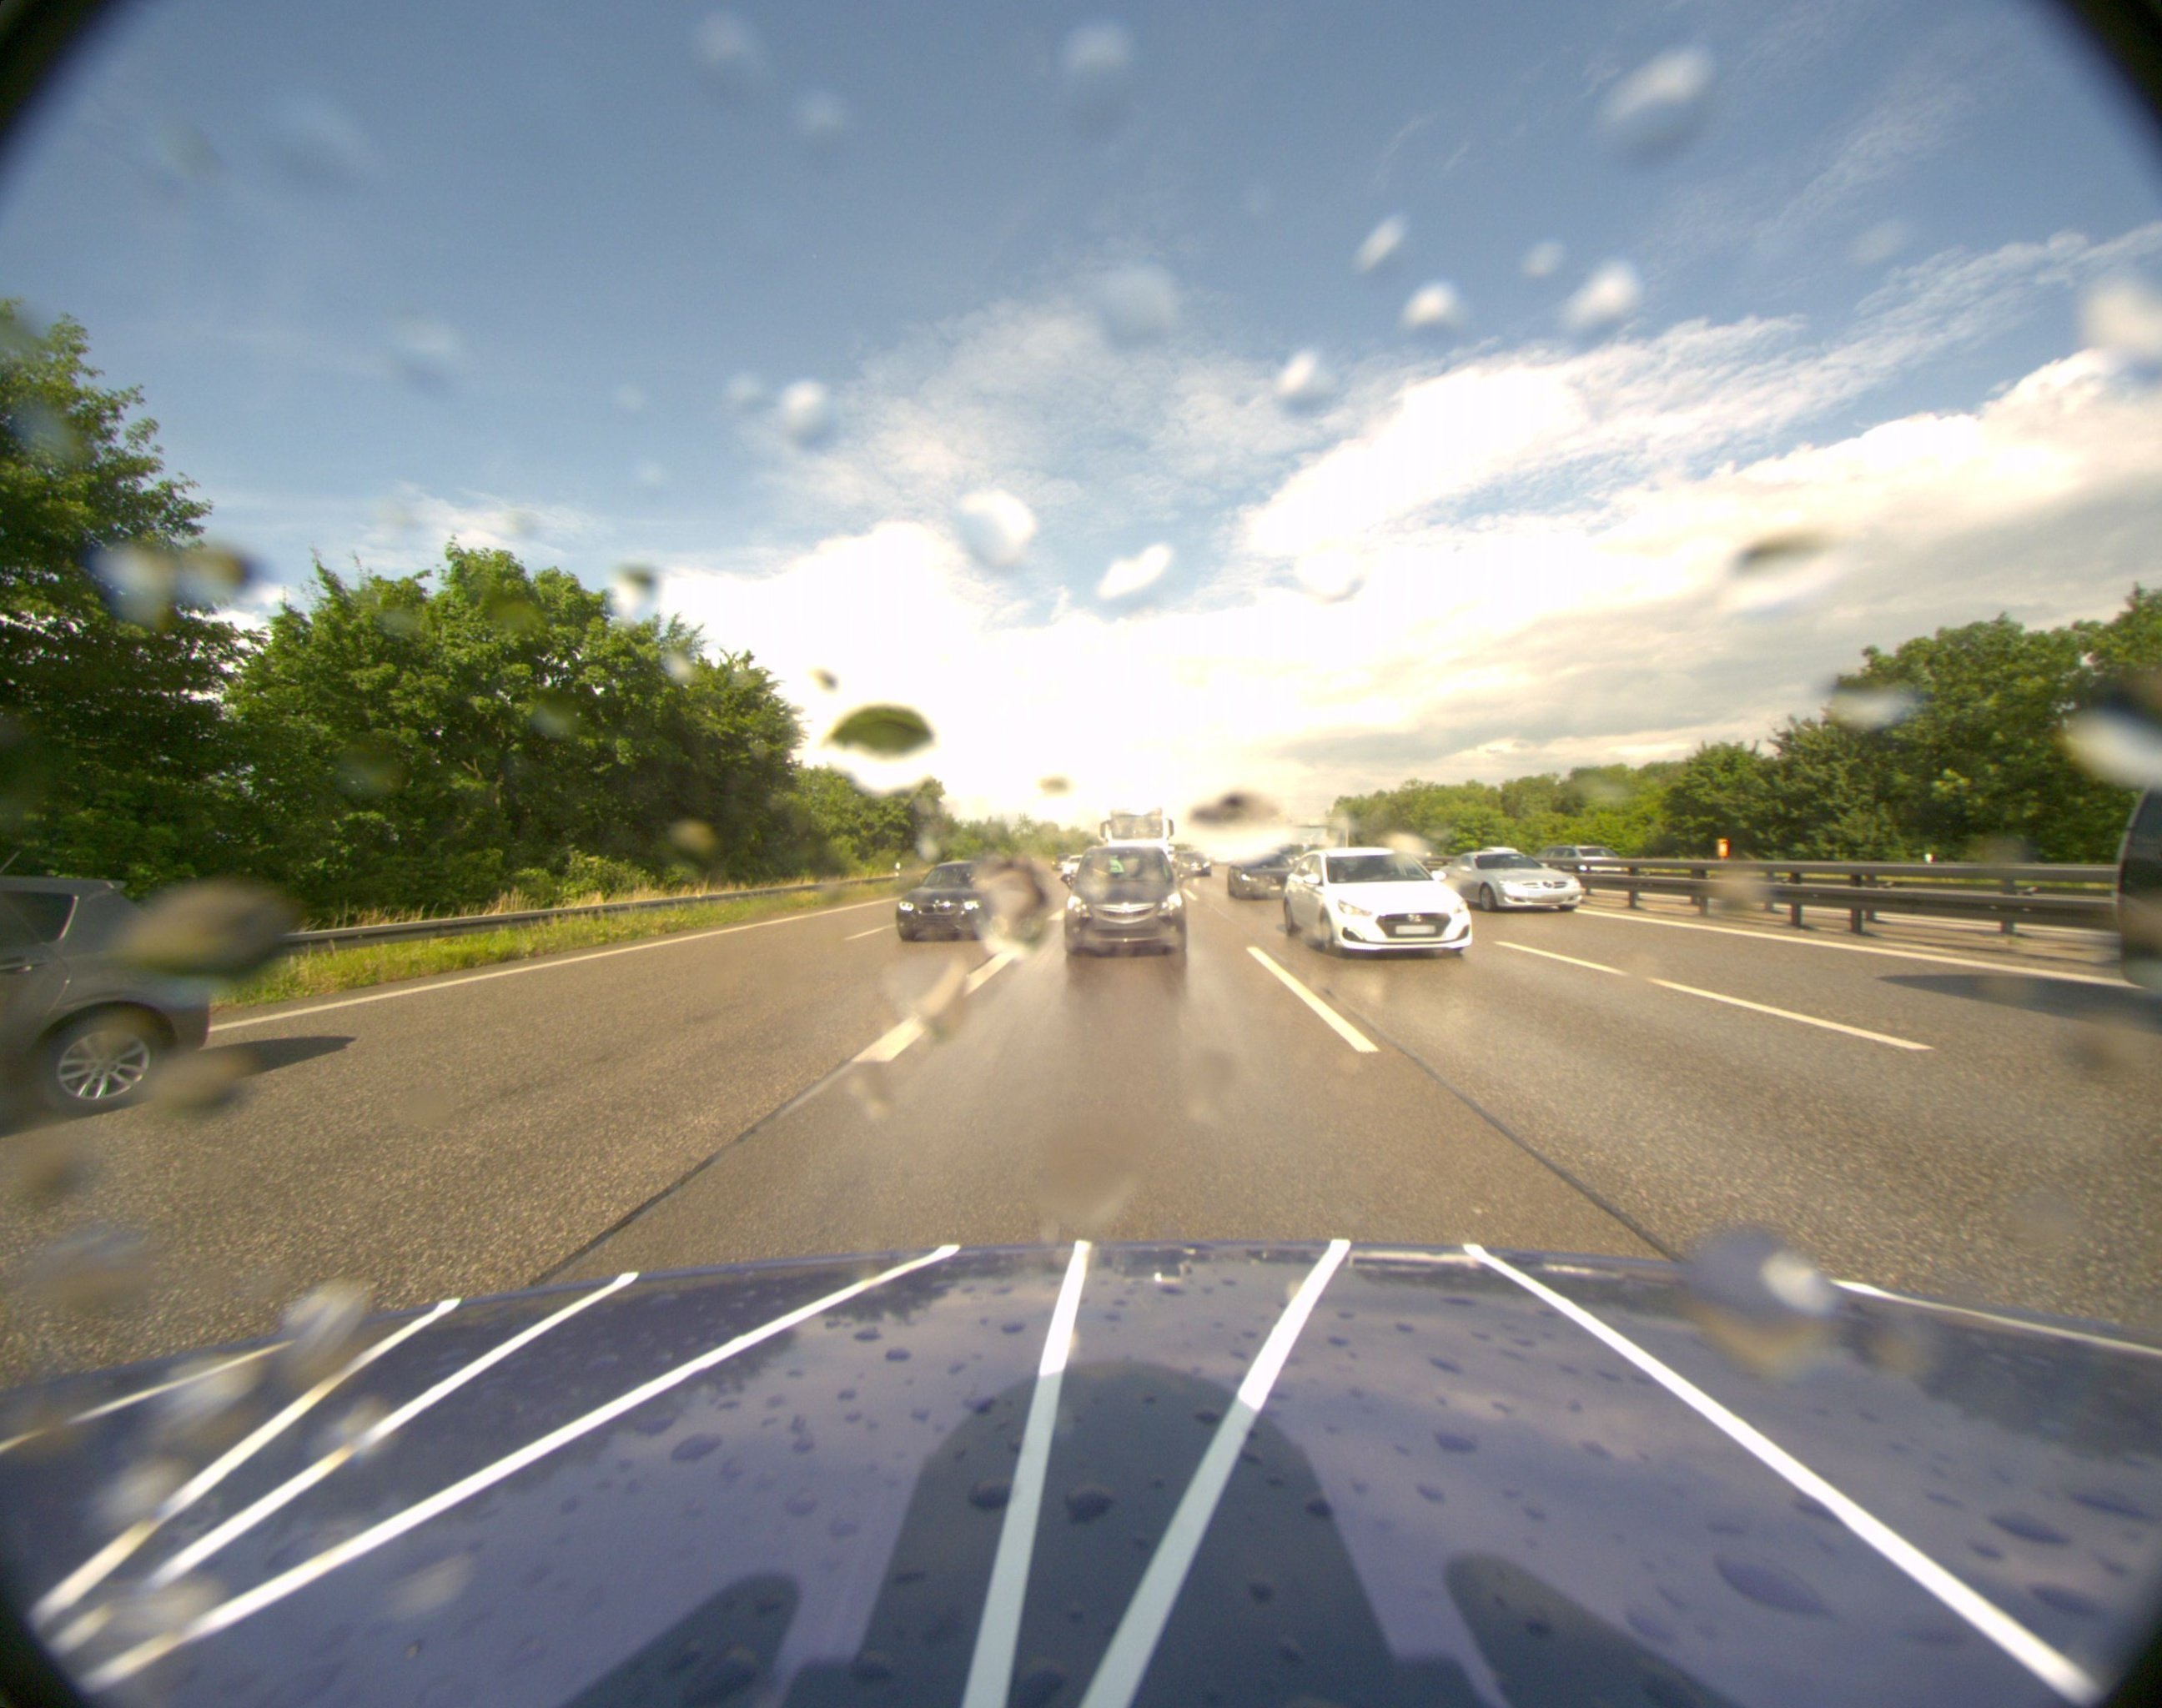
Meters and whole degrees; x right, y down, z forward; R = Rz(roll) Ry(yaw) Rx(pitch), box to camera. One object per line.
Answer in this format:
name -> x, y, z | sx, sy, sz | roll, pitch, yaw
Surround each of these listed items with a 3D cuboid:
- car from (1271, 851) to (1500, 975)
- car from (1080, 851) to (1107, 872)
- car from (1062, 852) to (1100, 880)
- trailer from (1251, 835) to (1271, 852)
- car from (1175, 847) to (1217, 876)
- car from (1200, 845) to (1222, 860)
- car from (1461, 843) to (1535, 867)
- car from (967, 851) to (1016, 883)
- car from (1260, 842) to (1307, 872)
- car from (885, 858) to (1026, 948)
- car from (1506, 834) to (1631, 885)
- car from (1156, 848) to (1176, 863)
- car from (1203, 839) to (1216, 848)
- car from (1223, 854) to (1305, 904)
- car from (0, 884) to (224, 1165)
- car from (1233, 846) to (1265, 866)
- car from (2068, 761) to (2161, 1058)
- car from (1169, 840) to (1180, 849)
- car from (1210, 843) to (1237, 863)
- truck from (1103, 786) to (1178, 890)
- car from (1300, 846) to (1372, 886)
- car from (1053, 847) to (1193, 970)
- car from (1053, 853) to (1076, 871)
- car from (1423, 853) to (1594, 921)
car -> 4.272, 0.723, 11.535 | 1.885, 1.446, 4.549 | -2, 0, 4
car -> 1.065, 0.545, 61.937 | 1.998, 1.572, 4.654 | -2, 0, 4
car -> 0.068, 0.669, 44.691 | 1.830, 1.417, 4.512 | -2, 1, 5
trailer -> 37.854, -2.164, 160.058 | 2.736, 3.362, 9.564 | -2, 0, 5
car -> 6.672, 0.415, 44.482 | 1.998, 1.477, 4.000 | -3, 1, 3
car -> 14.652, -0.197, 86.038 | 1.998, 1.471, 4.000 | -3, 1, 3
car -> 27.082, 0.049, 49.562 | 2.122, 1.478, 5.037 | -2, 0, 2
car -> -4.617, 0.635, 39.736 | 1.852, 1.559, 4.000 | -1, 1, 4
car -> 11.686, 0.160, 44.169 | 1.874, 1.597, 4.229 | -2, 1, 5
car -> -2.334, 0.878, 15.352 | 1.852, 1.455, 4.256 | -1, 1, 4
car -> 17.822, 0.165, 28.054 | 1.998, 1.697, 4.154 | -2, 0, 1
car -> 9.776, 0.136, 87.394 | 1.998, 1.471, 4.000 | -3, 1, 3
car -> 25.780, -2.096, 152.760 | 1.998, 1.768, 4.462 | -2, 0, 4
car -> 5.551, 0.712, 23.517 | 1.728, 1.330, 4.288 | -2, 0, 4
car -> -7.354, 1.061, 3.422 | 1.792, 1.603, 4.386 | -2, 0, 4
car -> 12.742, 0.127, 57.958 | 1.771, 1.371, 4.000 | -1, 1, 3
car -> 8.127, 0.366, 2.925 | 1.998, 2.002, 5.270 | -2, 0, 4
car -> 18.971, -1.870, 154.000 | 1.998, 1.687, 4.000 | -3, 1, 3
car -> 13.789, -0.099, 73.899 | 1.998, 1.739, 4.000 | -3, 1, 3
truck -> 2.747, -0.687, 34.217 | 2.816, 4.083, 7.447 | -2, 1, 5
car -> 10.175, 0.435, 30.632 | 1.770, 1.417, 4.139 | -2, 1, 5
car -> 0.719, 0.735, 12.639 | 1.883, 1.638, 4.397 | -2, 0, 4
car -> -1.615, 0.734, 74.003 | 1.825, 1.611, 4.364 | -2, 0, 3
car -> 9.300, 0.642, 16.956 | 1.728, 1.270, 4.064 | -2, 0, 4
